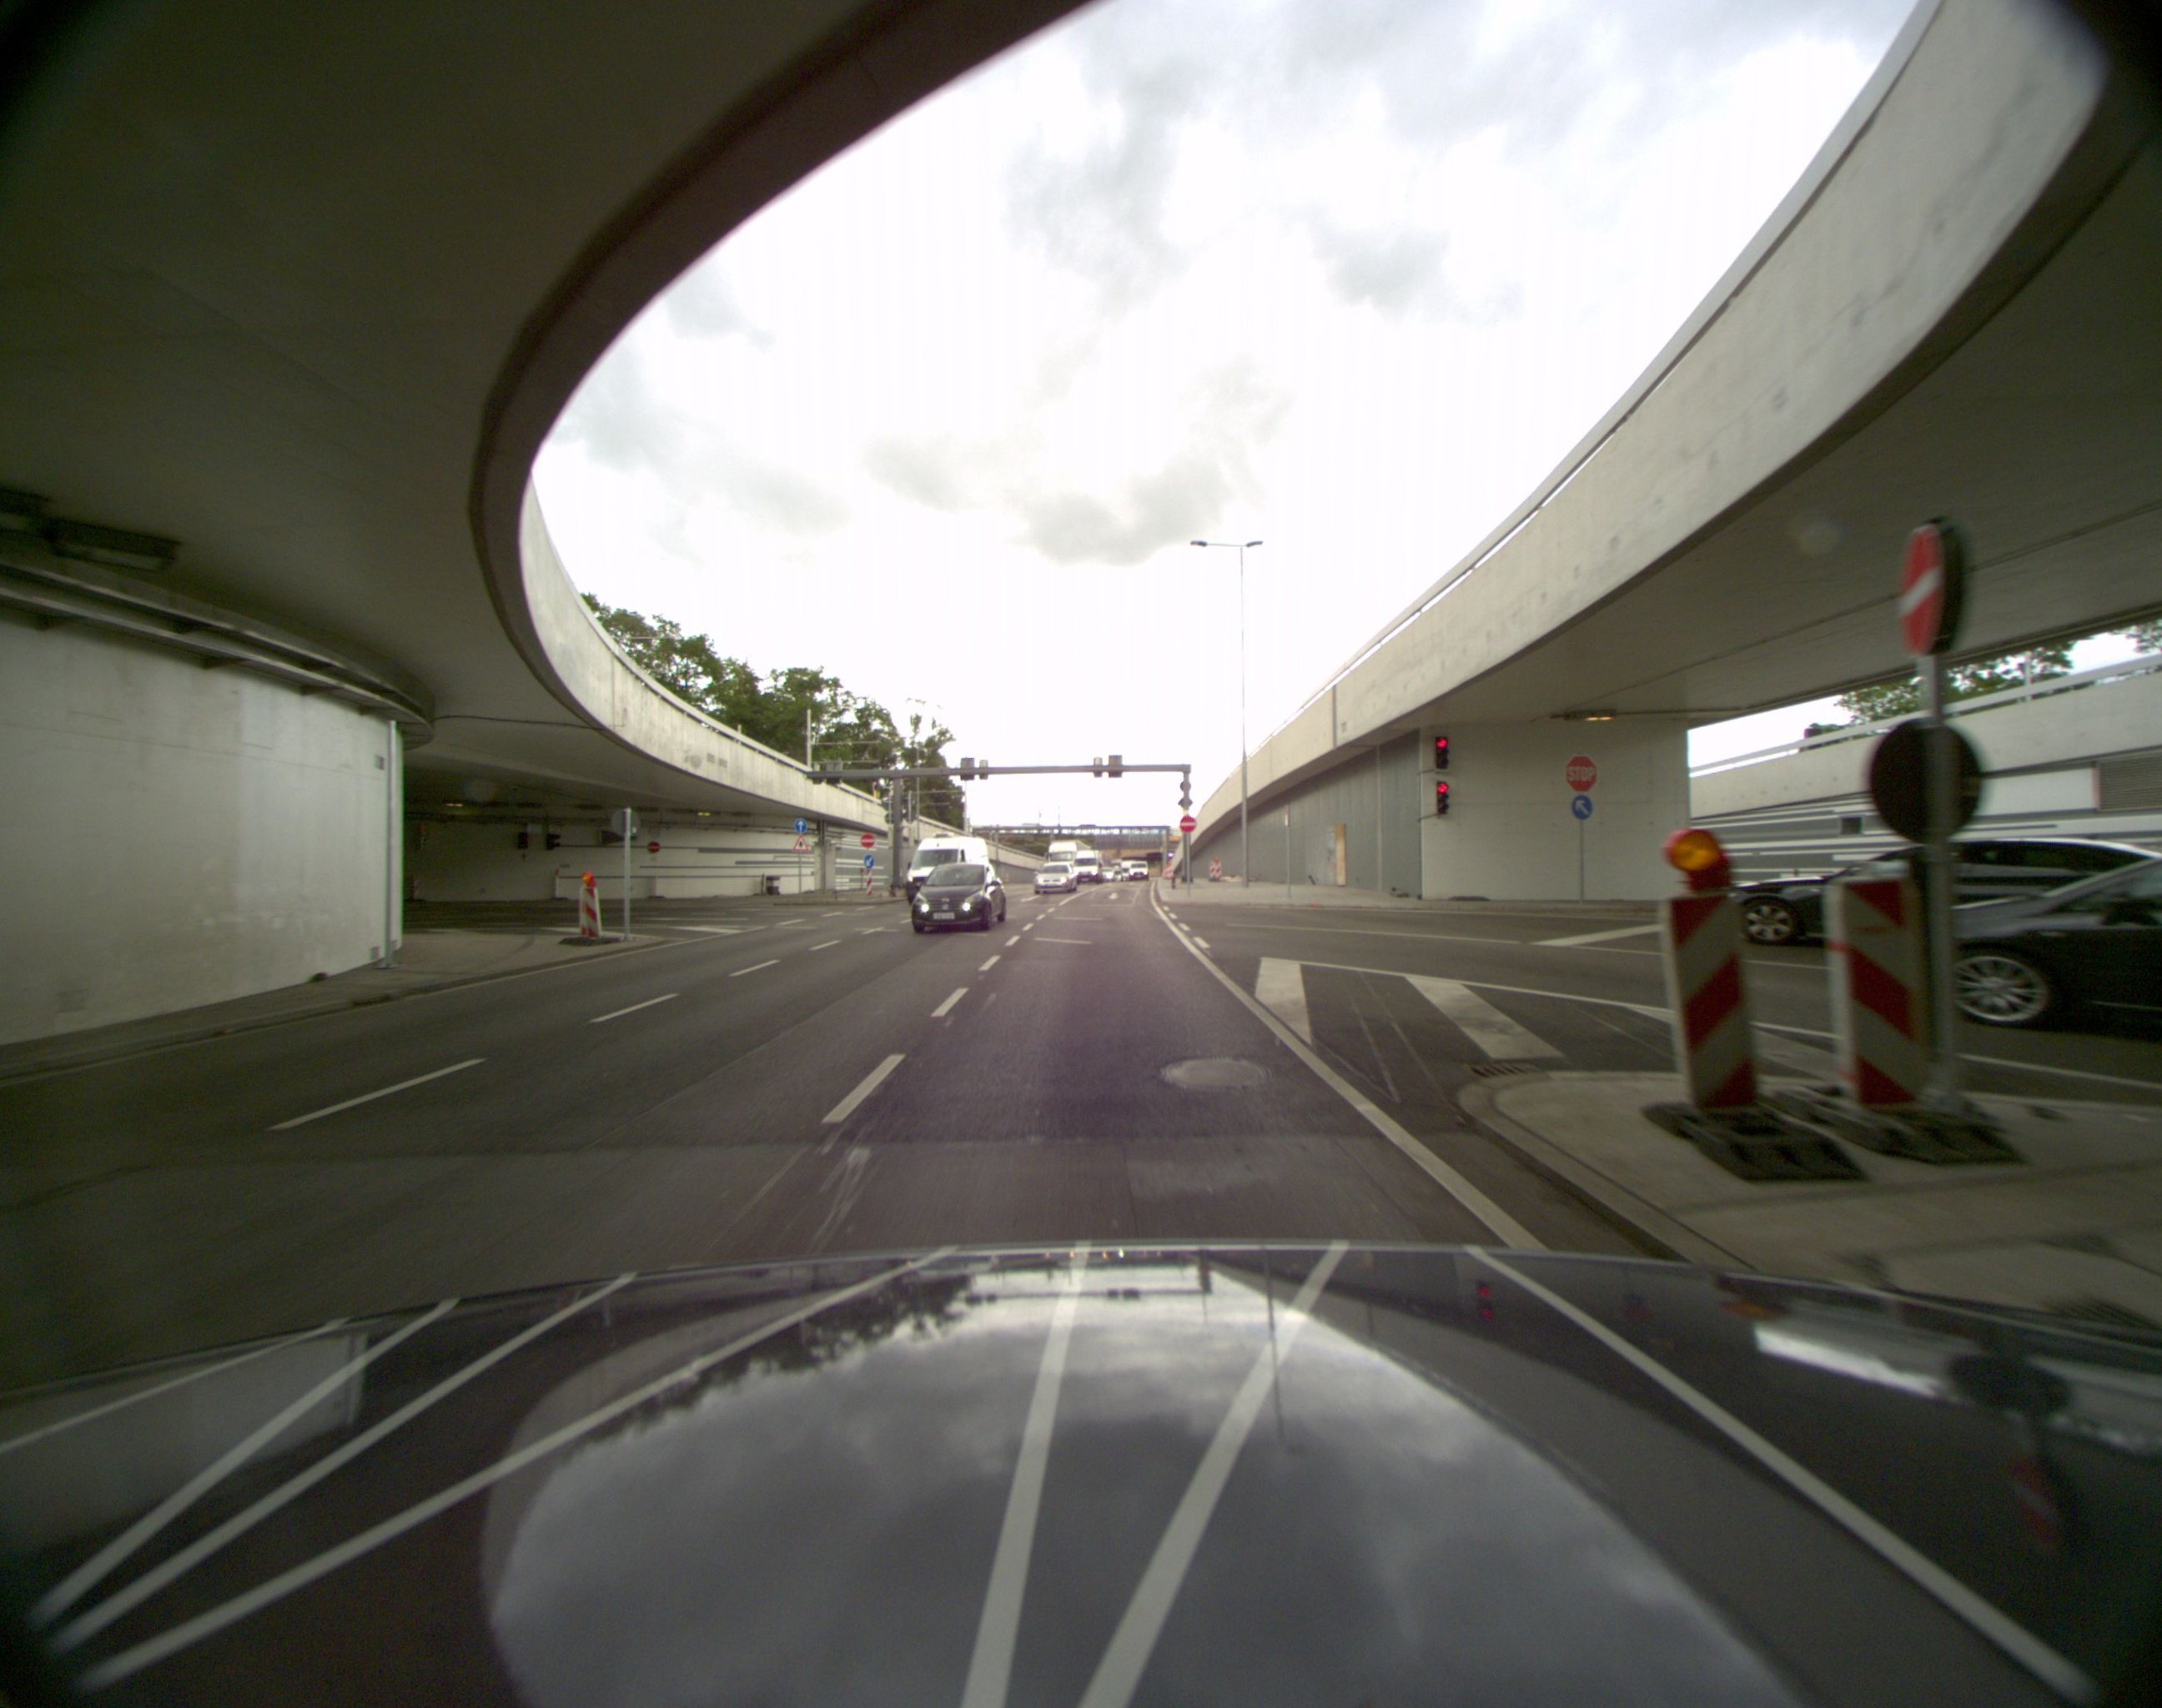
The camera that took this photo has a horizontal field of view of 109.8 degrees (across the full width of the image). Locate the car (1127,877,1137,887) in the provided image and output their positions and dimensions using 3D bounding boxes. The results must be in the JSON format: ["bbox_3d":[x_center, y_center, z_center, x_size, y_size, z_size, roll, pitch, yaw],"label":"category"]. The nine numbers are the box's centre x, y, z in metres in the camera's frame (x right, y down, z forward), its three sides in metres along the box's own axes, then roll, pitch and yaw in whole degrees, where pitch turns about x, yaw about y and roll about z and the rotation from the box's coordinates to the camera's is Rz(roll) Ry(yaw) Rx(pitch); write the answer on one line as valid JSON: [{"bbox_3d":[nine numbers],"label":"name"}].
[{"bbox_3d":[11.359,6.095,168.201,1.998,2.001,4.415,-5,-2,3],"label":"car"}]

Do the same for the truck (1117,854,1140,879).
[{"bbox_3d":[7.396,1.984,117.926,3.031,3.565,8.956,-5,-2,5],"label":"truck"}]

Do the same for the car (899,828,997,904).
[{"bbox_3d":[-5.318,0.559,31.593,2.079,2.756,7.331,-2,-2,5],"label":"car"}]

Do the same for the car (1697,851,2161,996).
[{"bbox_3d":[10.909,0.723,9.349,1.859,1.434,4.835,-1,-1,-25],"label":"car"}]

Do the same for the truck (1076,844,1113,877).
[{"bbox_3d":[2.002,1.007,106.032,3.732,4.116,10.993,-3,-2,7],"label":"truck"}]

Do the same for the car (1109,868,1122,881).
[{"bbox_3d":[6.259,3.657,136.761,1.998,2.001,4.416,-5,-2,6],"label":"car"}]

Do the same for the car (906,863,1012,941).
[{"bbox_3d":[-2.711,1.055,17.684,1.686,1.535,3.694,-3,-2,2],"label":"car"}]

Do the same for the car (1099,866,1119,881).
[{"bbox_3d":[2.745,1.871,74.159,1.720,1.390,4.349,0,0,6],"label":"car"}]

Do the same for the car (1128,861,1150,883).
[{"bbox_3d":[5.700,1.741,73.925,1.998,1.977,5.203,-3,-2,5],"label":"car"}]

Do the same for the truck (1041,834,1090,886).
[{"bbox_3d":[-1.405,0.674,73.470,3.813,4.602,7.447,-3,-2,5],"label":"truck"}]

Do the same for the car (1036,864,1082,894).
[{"bbox_3d":[-1.002,1.192,37.149,1.767,1.375,4.041,-1,-1,5],"label":"car"}]

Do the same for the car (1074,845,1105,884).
[{"bbox_3d":[0.580,0.845,58.420,2.063,2.611,5.945,-5,-3,-1],"label":"car"}]

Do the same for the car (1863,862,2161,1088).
[{"bbox_3d":[7.865,0.752,4.543,1.671,1.432,4.108,-1,-2,-17],"label":"car"}]
